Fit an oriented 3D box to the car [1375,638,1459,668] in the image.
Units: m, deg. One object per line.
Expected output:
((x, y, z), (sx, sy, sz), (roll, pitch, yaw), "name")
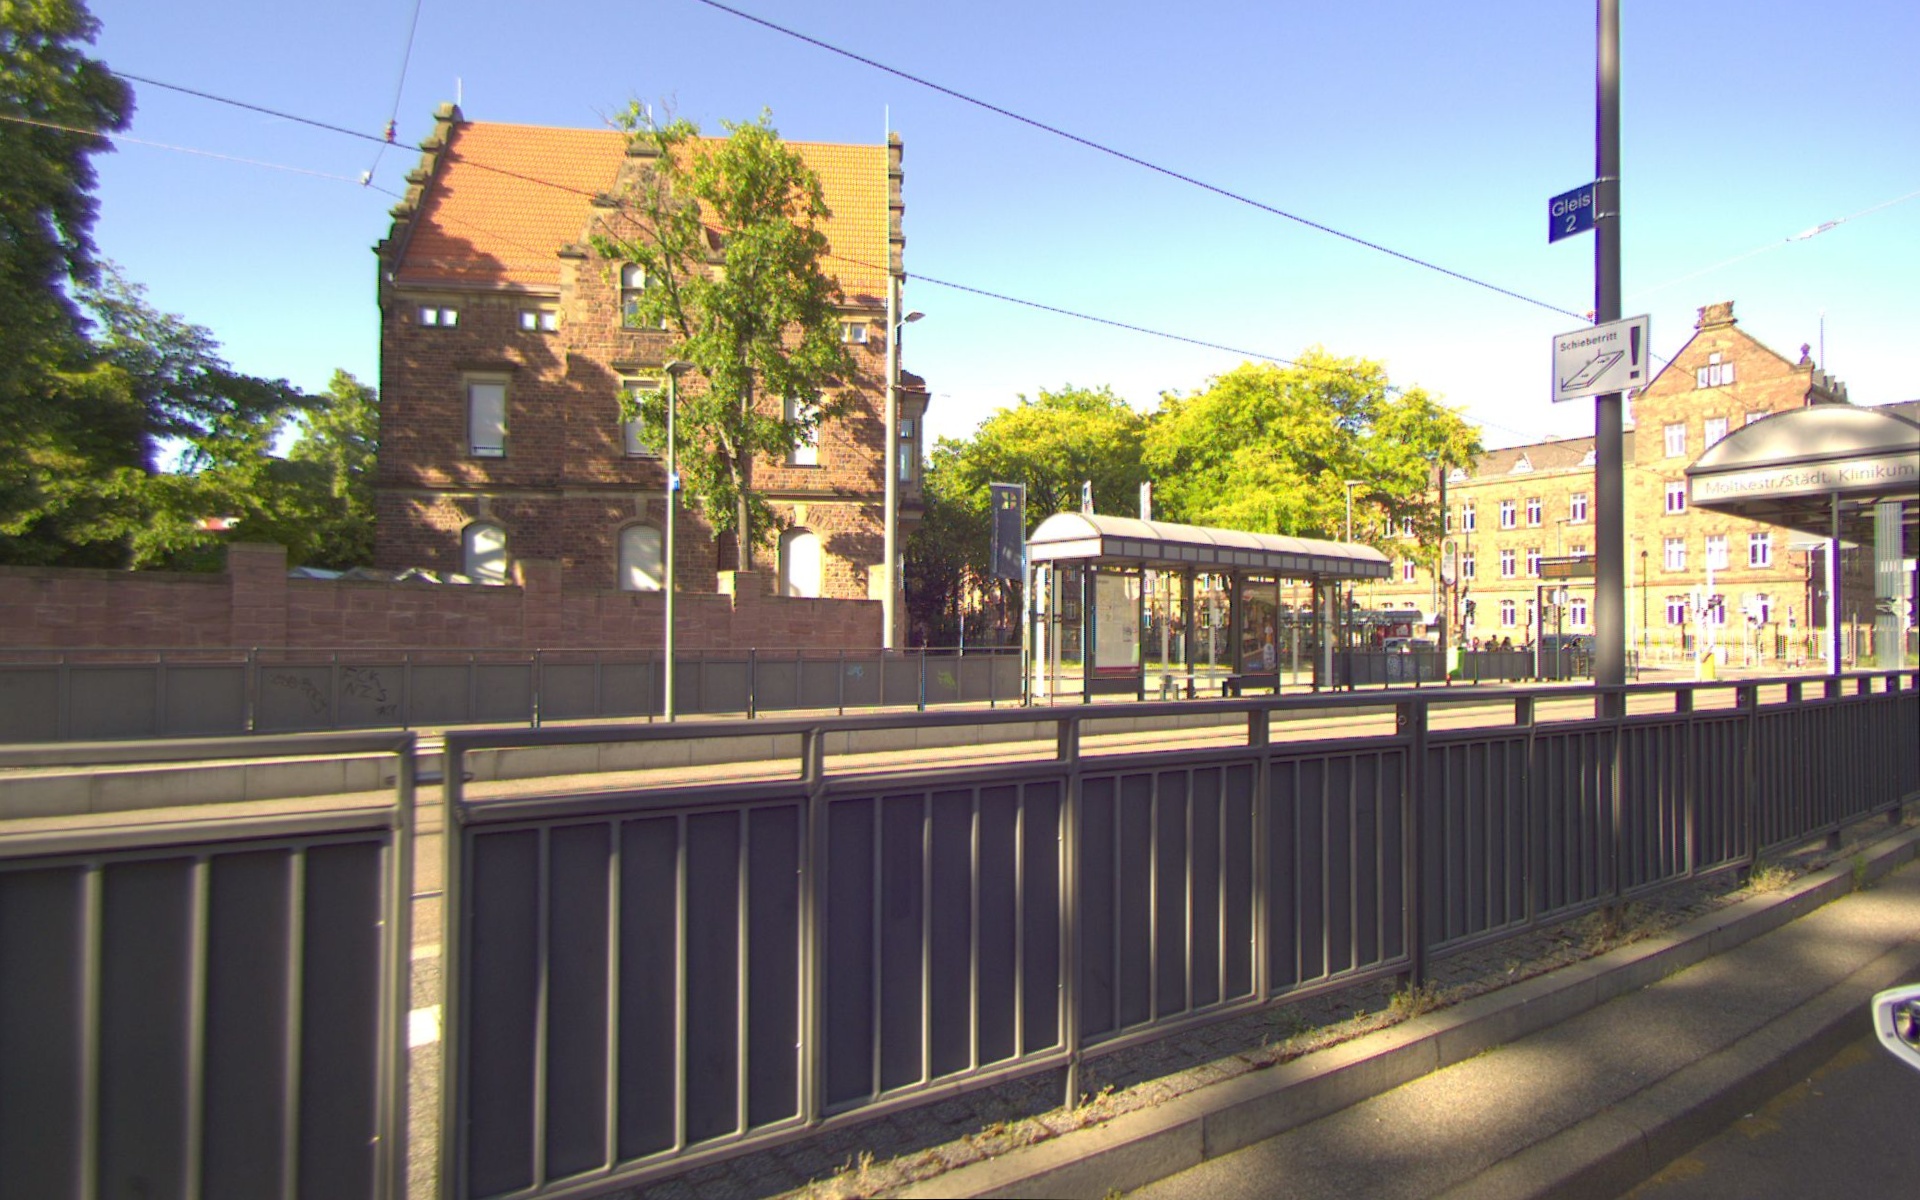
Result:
((26.193, 3.021, 57.642), (1.858, 1.542, 4.041), (2, -2, -33), "car")

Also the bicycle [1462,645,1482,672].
((21.294, 2.430, 41.773), (0.681, 1.063, 1.667), (0, -2, 28), "bicycle")

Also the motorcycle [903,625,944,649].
((-2.796, 2.861, 77.605), (1.286, 1.852, 3.765), (0, -2, 32), "motorcycle")

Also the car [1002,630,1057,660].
((6.185, 4.004, 90.010), (2.239, 2.485, 4.994), (2, -2, -36), "car")

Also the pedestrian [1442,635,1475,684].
((19.679, 2.337, 39.673), (1.085, 1.885, 0.722), (2, -2, -34), "pedestrian")

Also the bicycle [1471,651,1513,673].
((27.133, 3.148, 51.253), (0.793, 1.027, 1.723), (2, -2, -35), "bicycle")

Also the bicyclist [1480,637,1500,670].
((27.086, 2.754, 51.336), (0.794, 1.657, 0.630), (2, -2, -36), "bicyclist")

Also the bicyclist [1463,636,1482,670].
((21.334, 2.212, 41.830), (0.678, 1.402, 0.533), (0, -2, 28), "bicyclist")
